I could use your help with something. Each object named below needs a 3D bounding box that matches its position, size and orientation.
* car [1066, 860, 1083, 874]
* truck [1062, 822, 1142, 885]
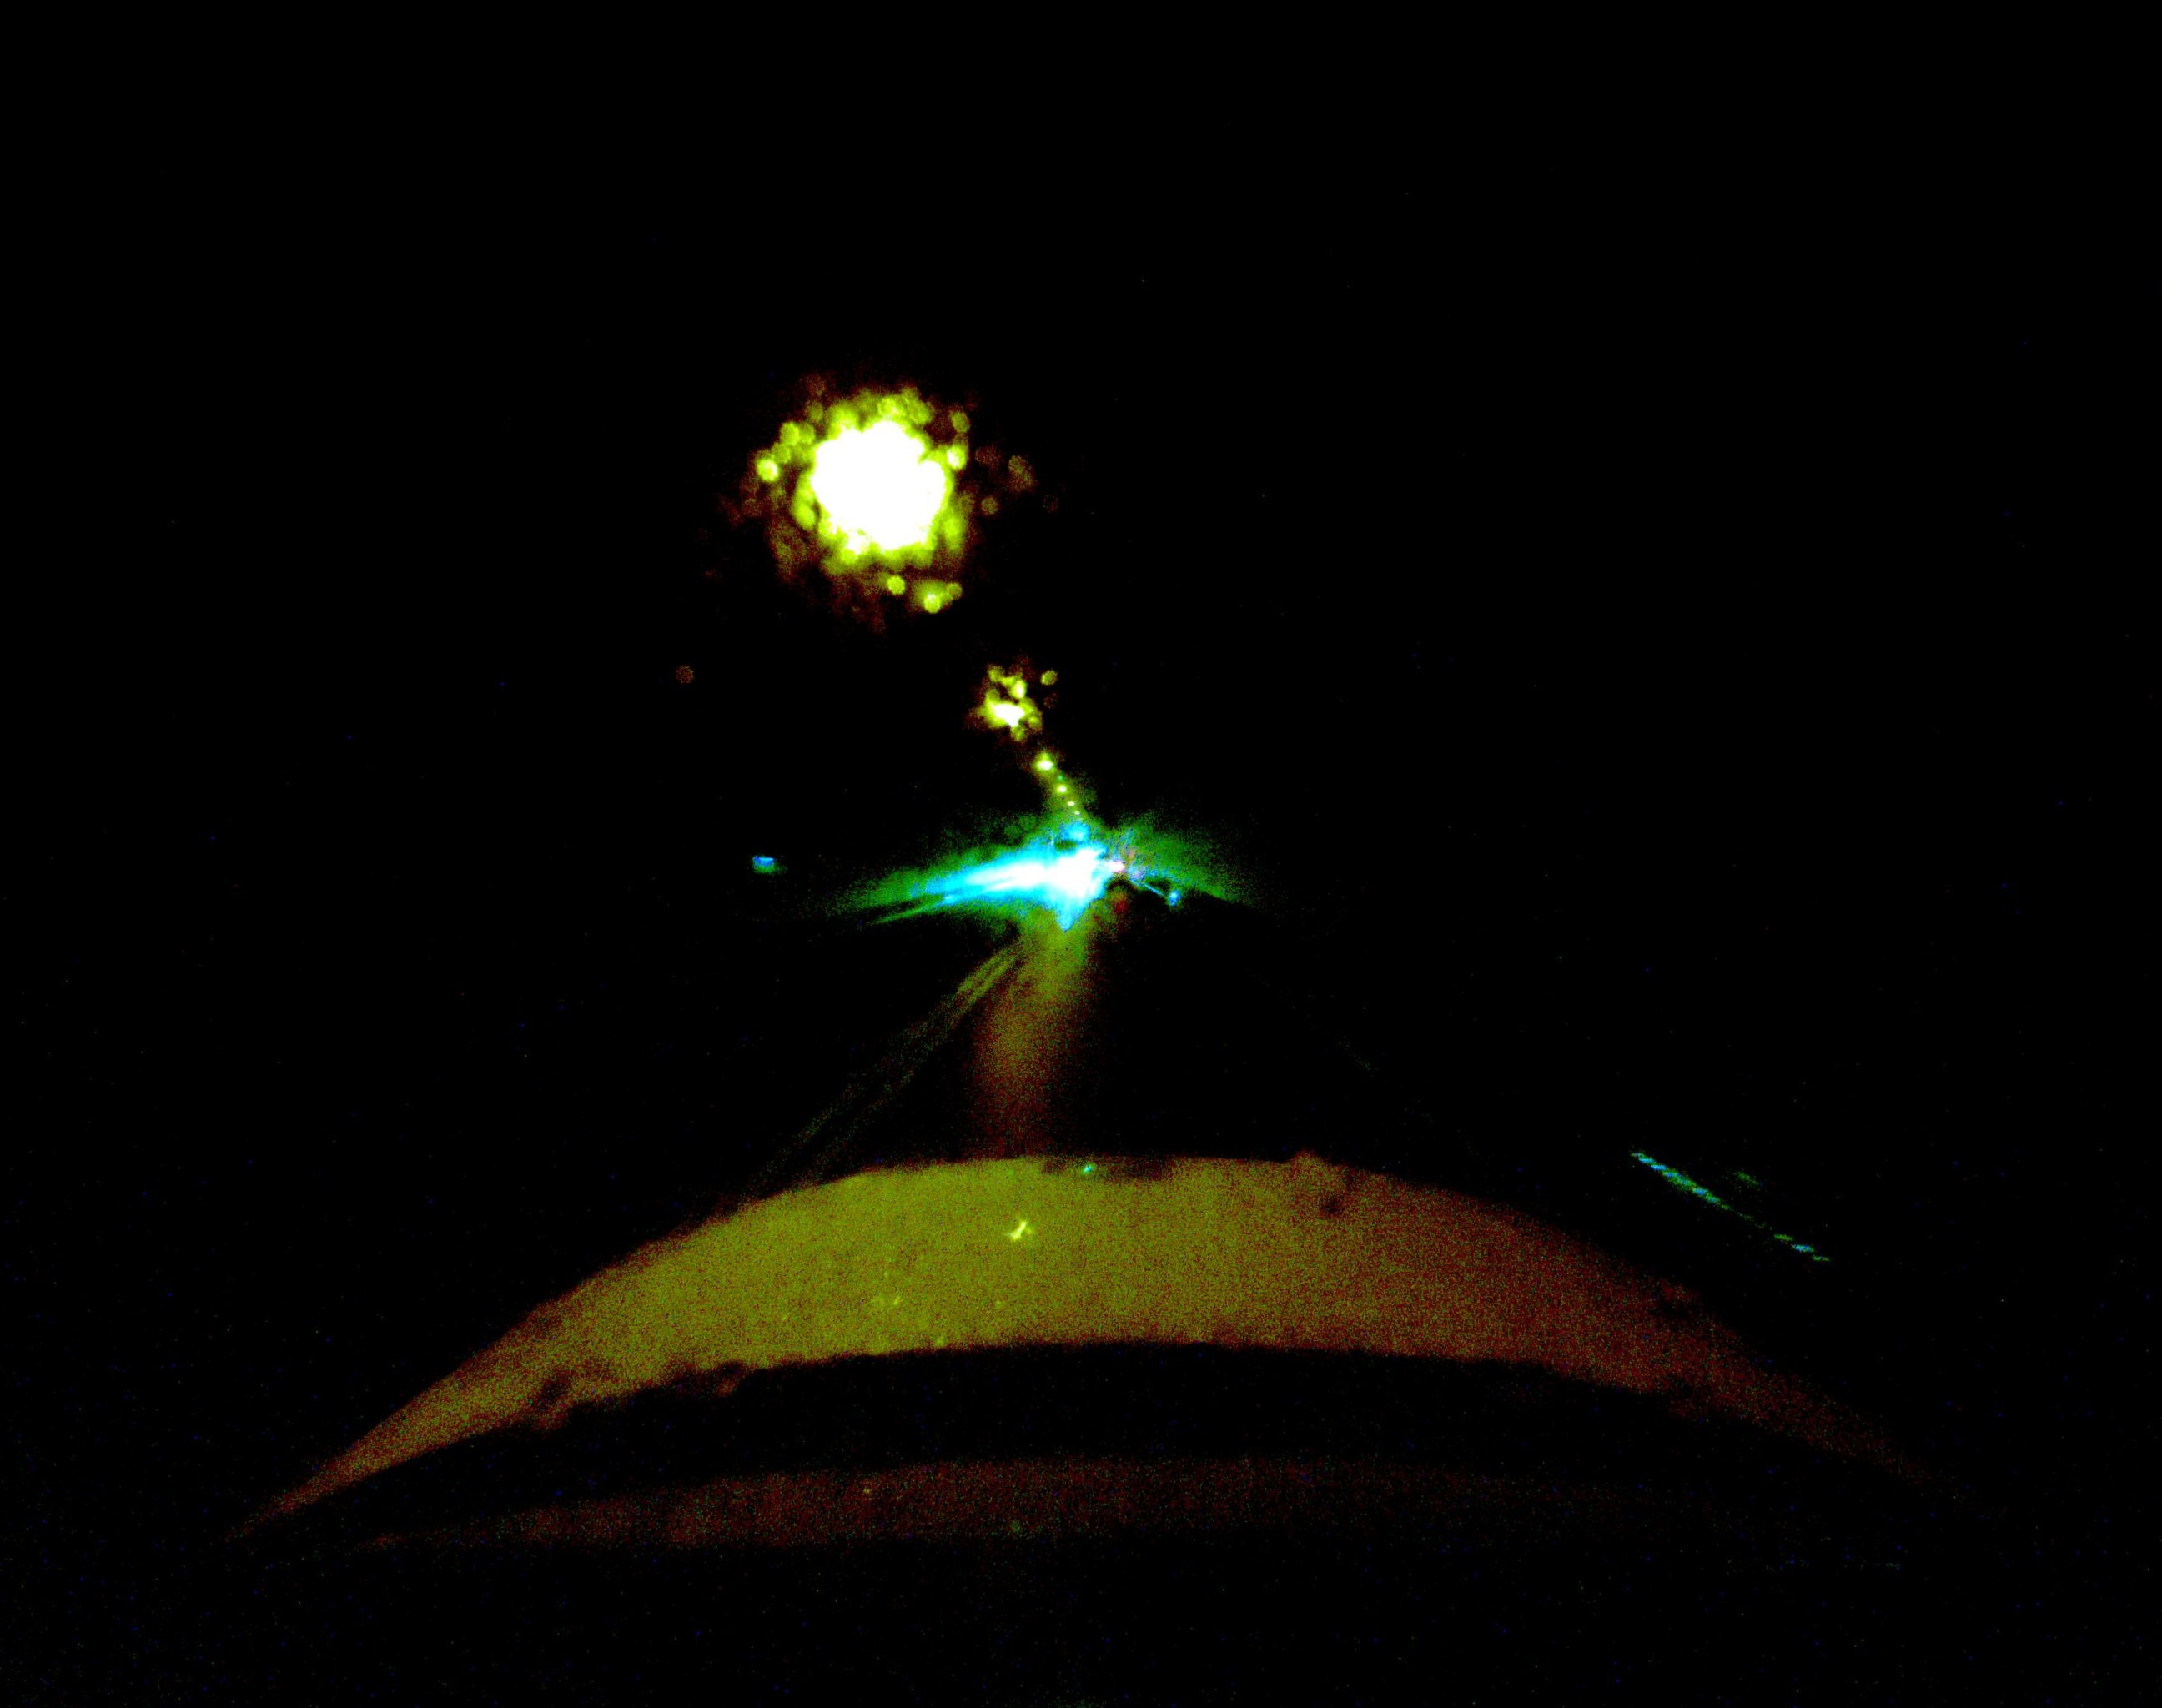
[{"bbox_3d":[-0.722,1.427,90.651,1.742,1.584,4.001,-1,-1,2],"label":"car"},{"bbox_3d":[1.093,-0.014,40.790,3.521,2.693,8.960,-2,0,2],"label":"truck"}]
